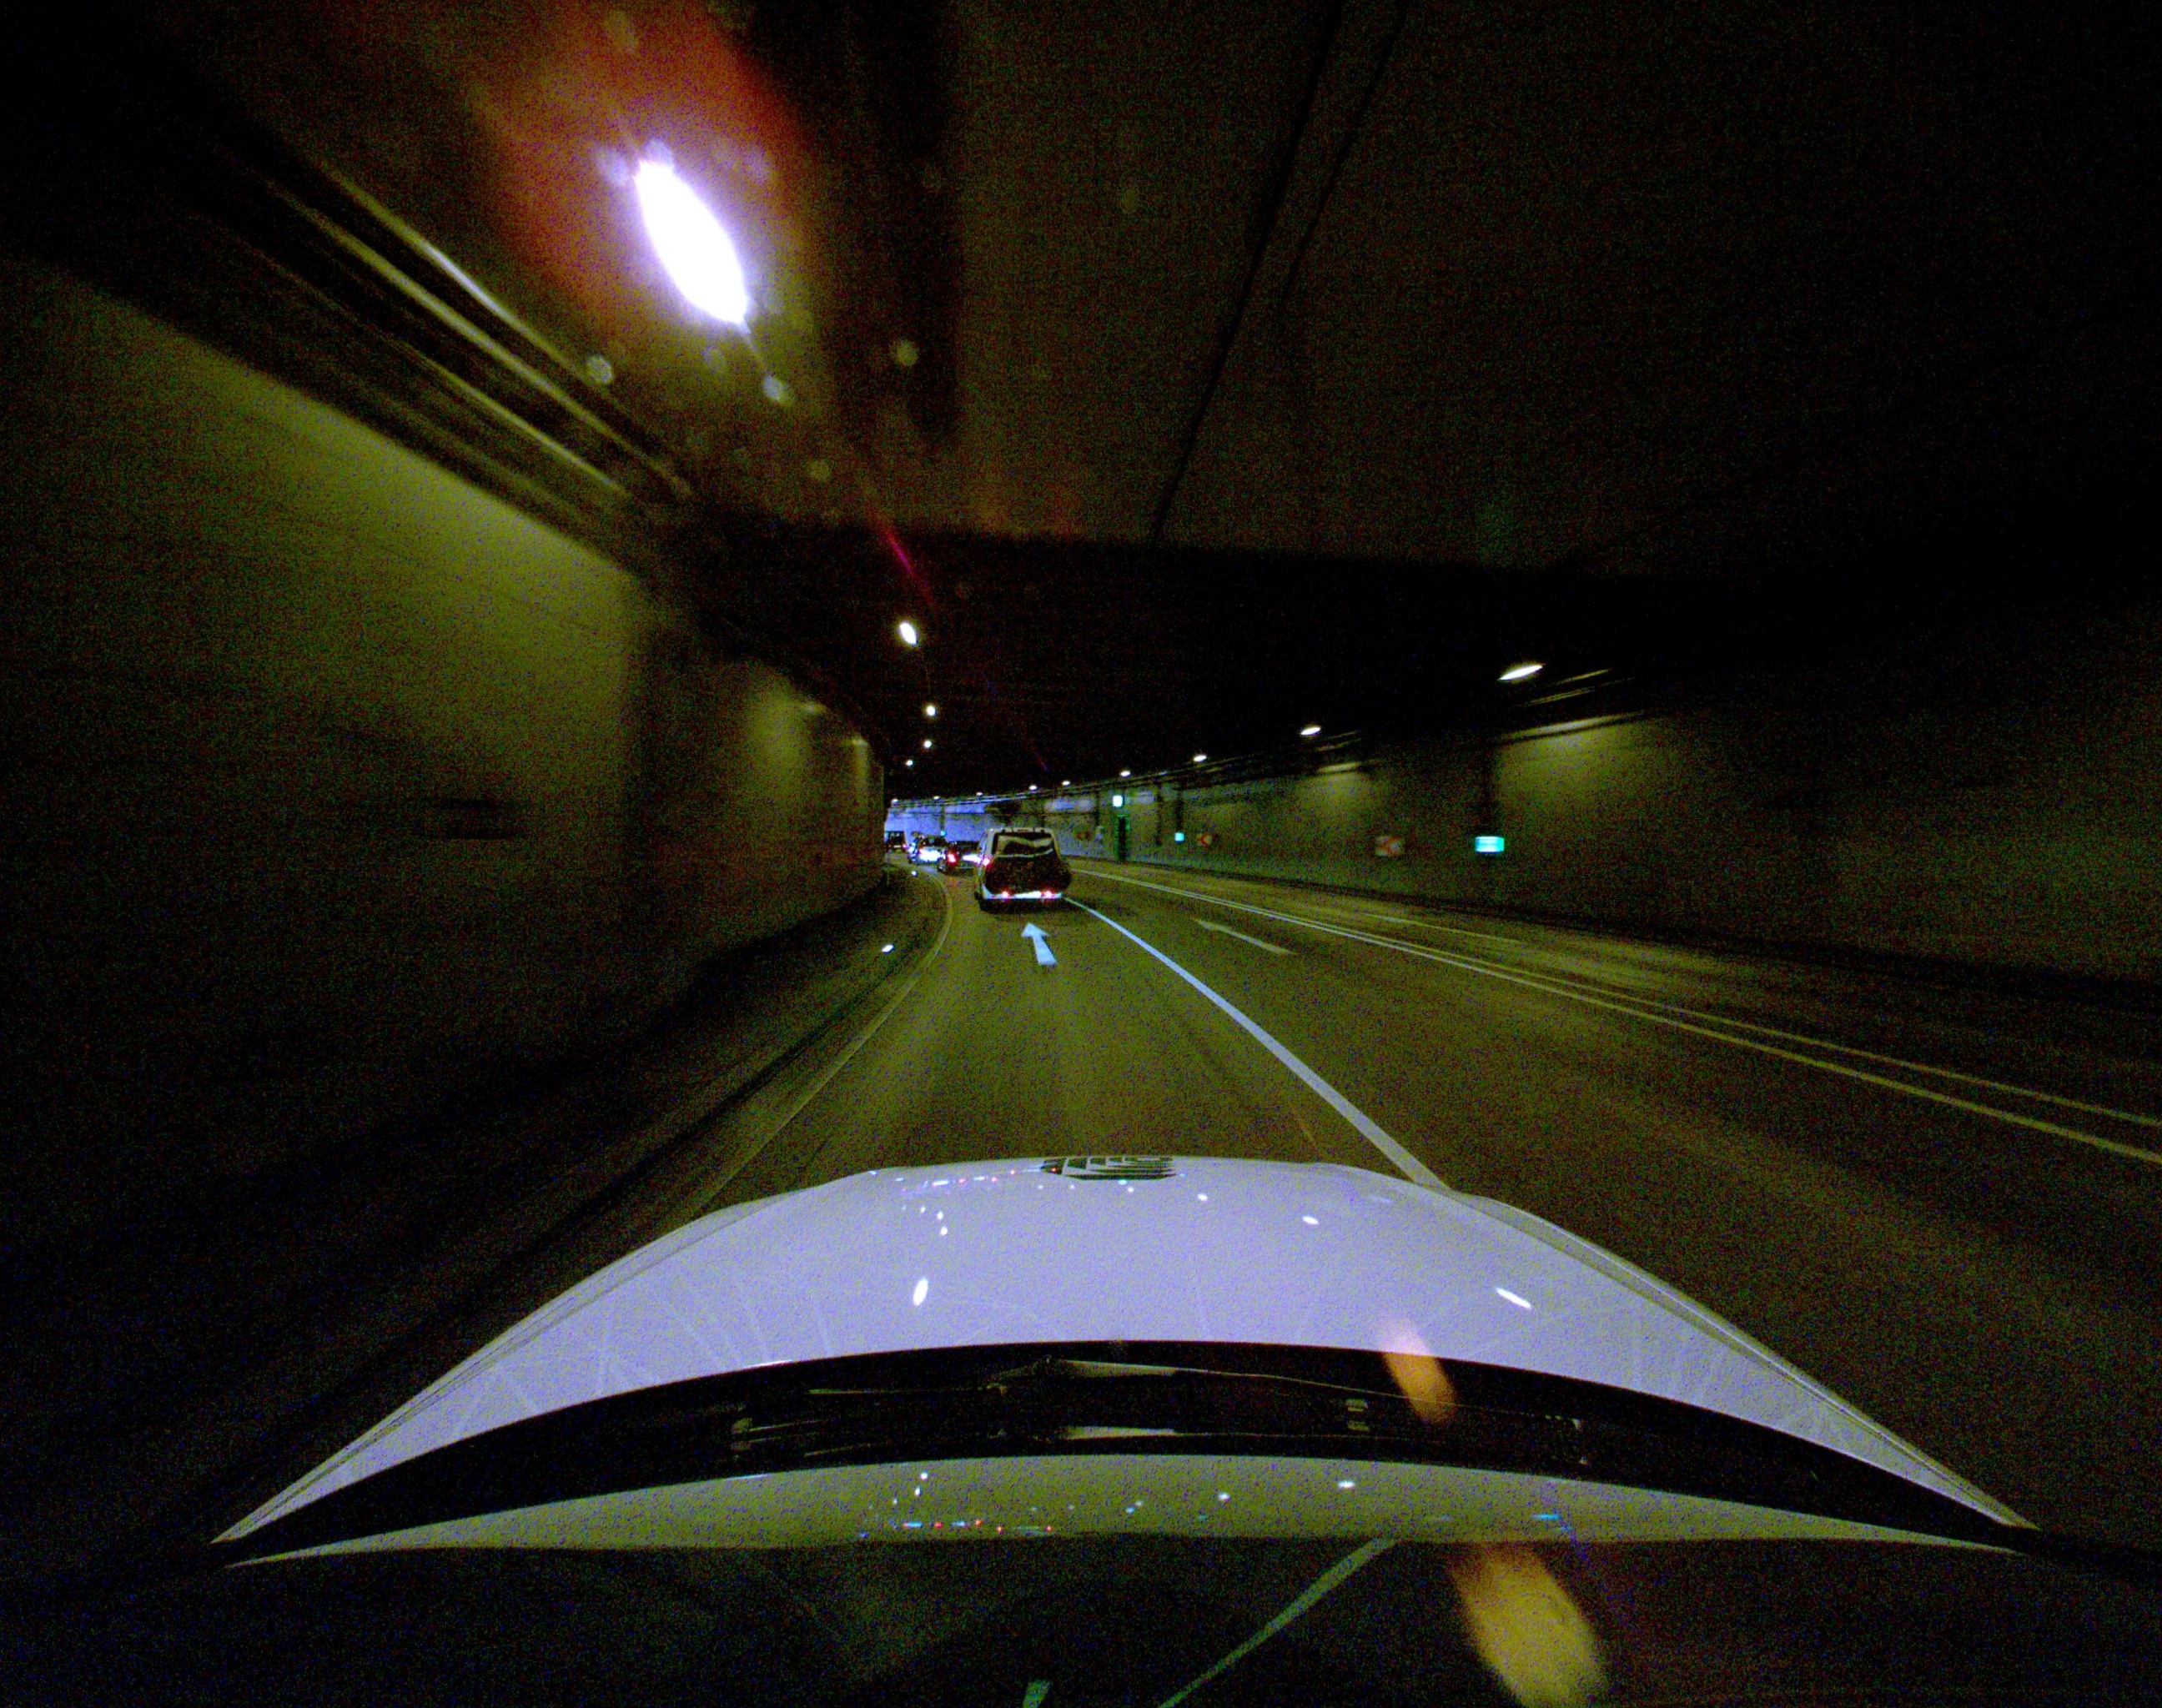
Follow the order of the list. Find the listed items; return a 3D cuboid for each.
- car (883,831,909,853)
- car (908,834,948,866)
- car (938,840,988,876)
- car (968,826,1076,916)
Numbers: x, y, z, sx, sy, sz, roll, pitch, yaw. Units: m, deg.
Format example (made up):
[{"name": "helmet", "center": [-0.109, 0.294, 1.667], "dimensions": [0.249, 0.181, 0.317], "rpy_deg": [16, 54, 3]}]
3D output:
[{"name": "car", "center": [-14.561, -0.931, 64.018], "dimensions": [1.608, 1.630, 3.333], "rpy_deg": [0, 0, -20]}, {"name": "car", "center": [-8.132, -0.215, 43.024], "dimensions": [1.607, 1.594, 3.335], "rpy_deg": [1, 0, -19]}, {"name": "car", "center": [-4.916, 0.123, 33.598], "dimensions": [1.606, 1.395, 3.260], "rpy_deg": [-1, 2, -16]}, {"name": "car", "center": [-1.571, 0.291, 19.556], "dimensions": [1.994, 1.847, 5.282], "rpy_deg": [-1, 1, -11]}]
